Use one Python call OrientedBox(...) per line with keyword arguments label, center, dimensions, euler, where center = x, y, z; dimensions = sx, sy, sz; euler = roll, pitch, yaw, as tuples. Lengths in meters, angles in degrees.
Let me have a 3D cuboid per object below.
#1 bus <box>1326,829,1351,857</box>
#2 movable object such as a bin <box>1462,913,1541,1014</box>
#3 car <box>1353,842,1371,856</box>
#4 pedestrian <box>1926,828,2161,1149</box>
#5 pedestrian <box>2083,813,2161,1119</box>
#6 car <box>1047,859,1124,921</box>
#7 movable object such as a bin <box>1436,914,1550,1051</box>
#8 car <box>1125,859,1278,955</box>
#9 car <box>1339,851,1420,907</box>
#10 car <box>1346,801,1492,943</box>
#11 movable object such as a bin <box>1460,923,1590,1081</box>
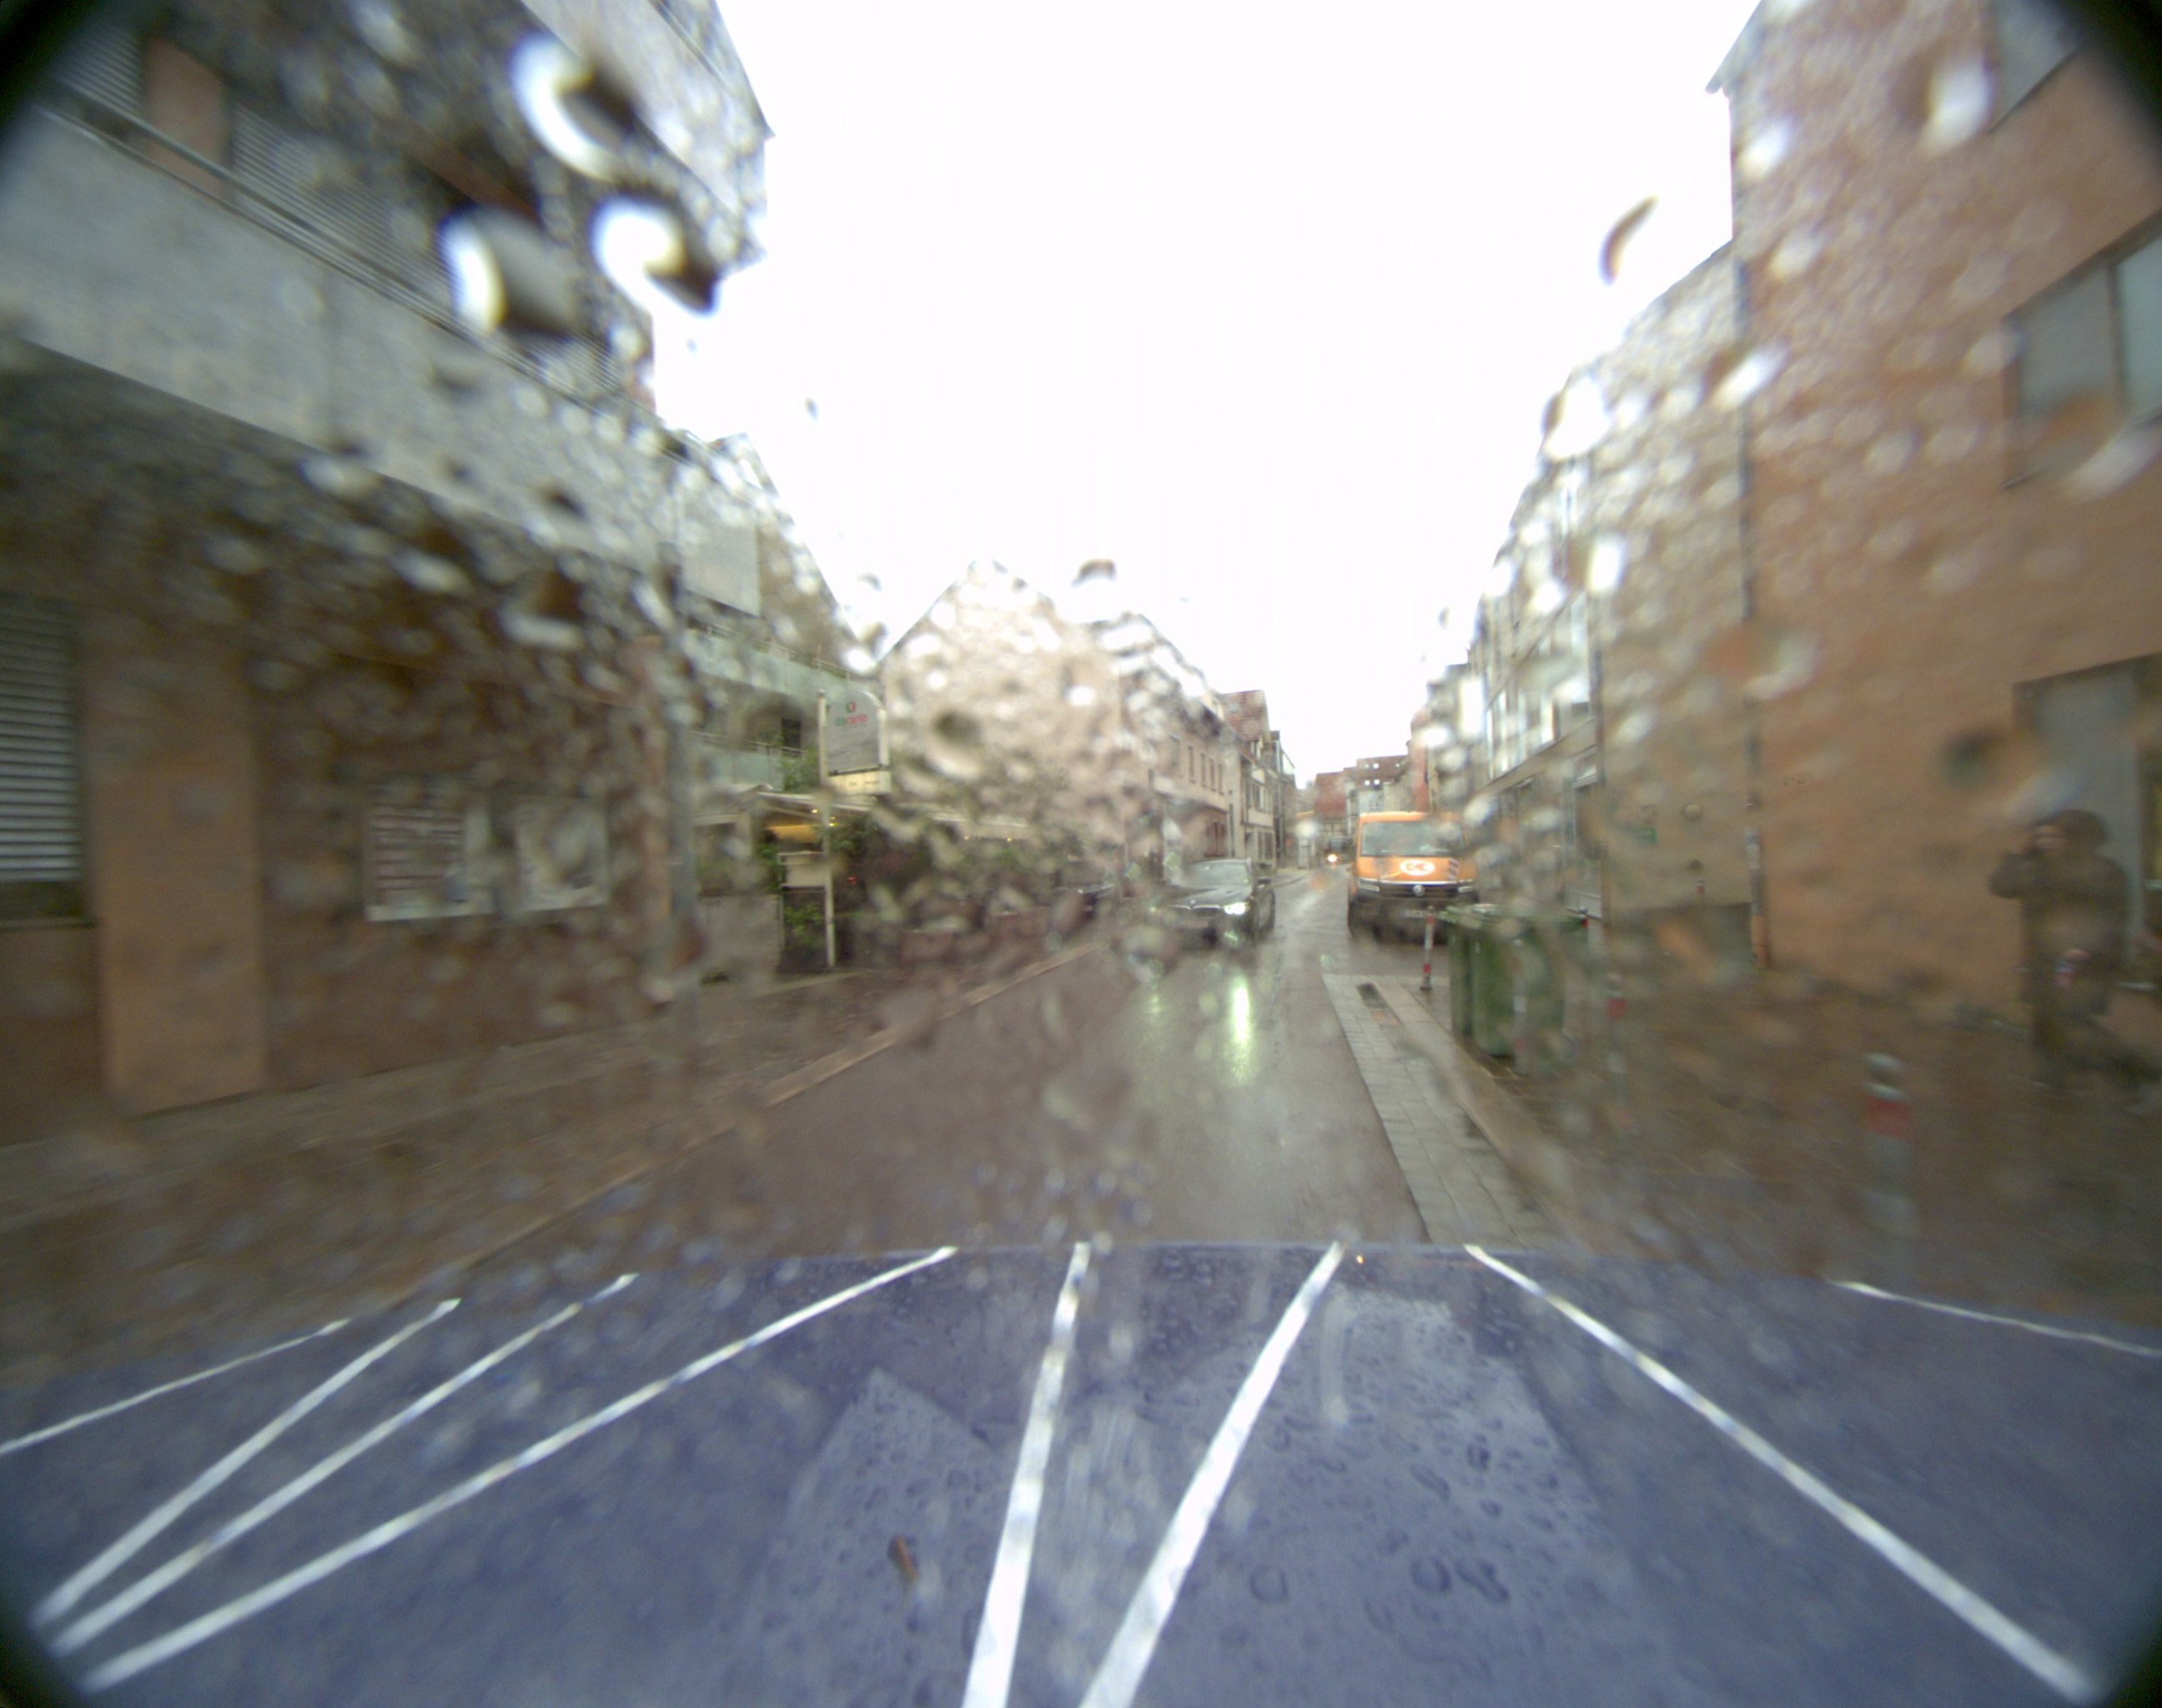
OrientedBox(label="bus", center=(30.733, -1.324, 90.681), dimensions=(2.607, 3.175, 7.385), euler=(-1, 0, 19))
OrientedBox(label="movable object such as a bin", center=(4.162, 1.079, 7.557), dimensions=(0.582, 0.921, 0.482), euler=(-3, 0, 20))
OrientedBox(label="car", center=(33.957, -0.626, 91.952), dimensions=(1.996, 1.586, 4.005), euler=(-1, 0, 20))
OrientedBox(label="pedestrian", center=(5.522, 0.692, 4.244), dimensions=(0.716, 1.630, 0.746), euler=(-3, 0, 12))
OrientedBox(label="pedestrian", center=(6.285, 0.613, 4.108), dimensions=(0.623, 1.702, 0.809), euler=(-3, 0, 12))
OrientedBox(label="car", center=(0.020, 0.858, 19.701), dimensions=(1.738, 1.349, 3.935), euler=(-2, 0, -3))
OrientedBox(label="movable object such as a bin", center=(3.418, 1.051, 6.353), dimensions=(0.657, 1.030, 0.610), euler=(-2, 1, 10))
OrientedBox(label="car", center=(2.426, 0.862, 14.187), dimensions=(1.944, 1.394, 4.426), euler=(-2, 0, 20))
OrientedBox(label="car", center=(8.086, 0.614, 20.901), dimensions=(1.758, 1.348, 4.487), euler=(-2, 0, 18))
OrientedBox(label="car", center=(6.355, 0.271, 14.944), dimensions=(1.996, 2.226, 5.868), euler=(-1, 0, 18))
OrientedBox(label="movable object such as a bin", center=(3.250, 1.057, 5.615), dimensions=(0.657, 1.030, 0.610), euler=(0, 1, 10))
